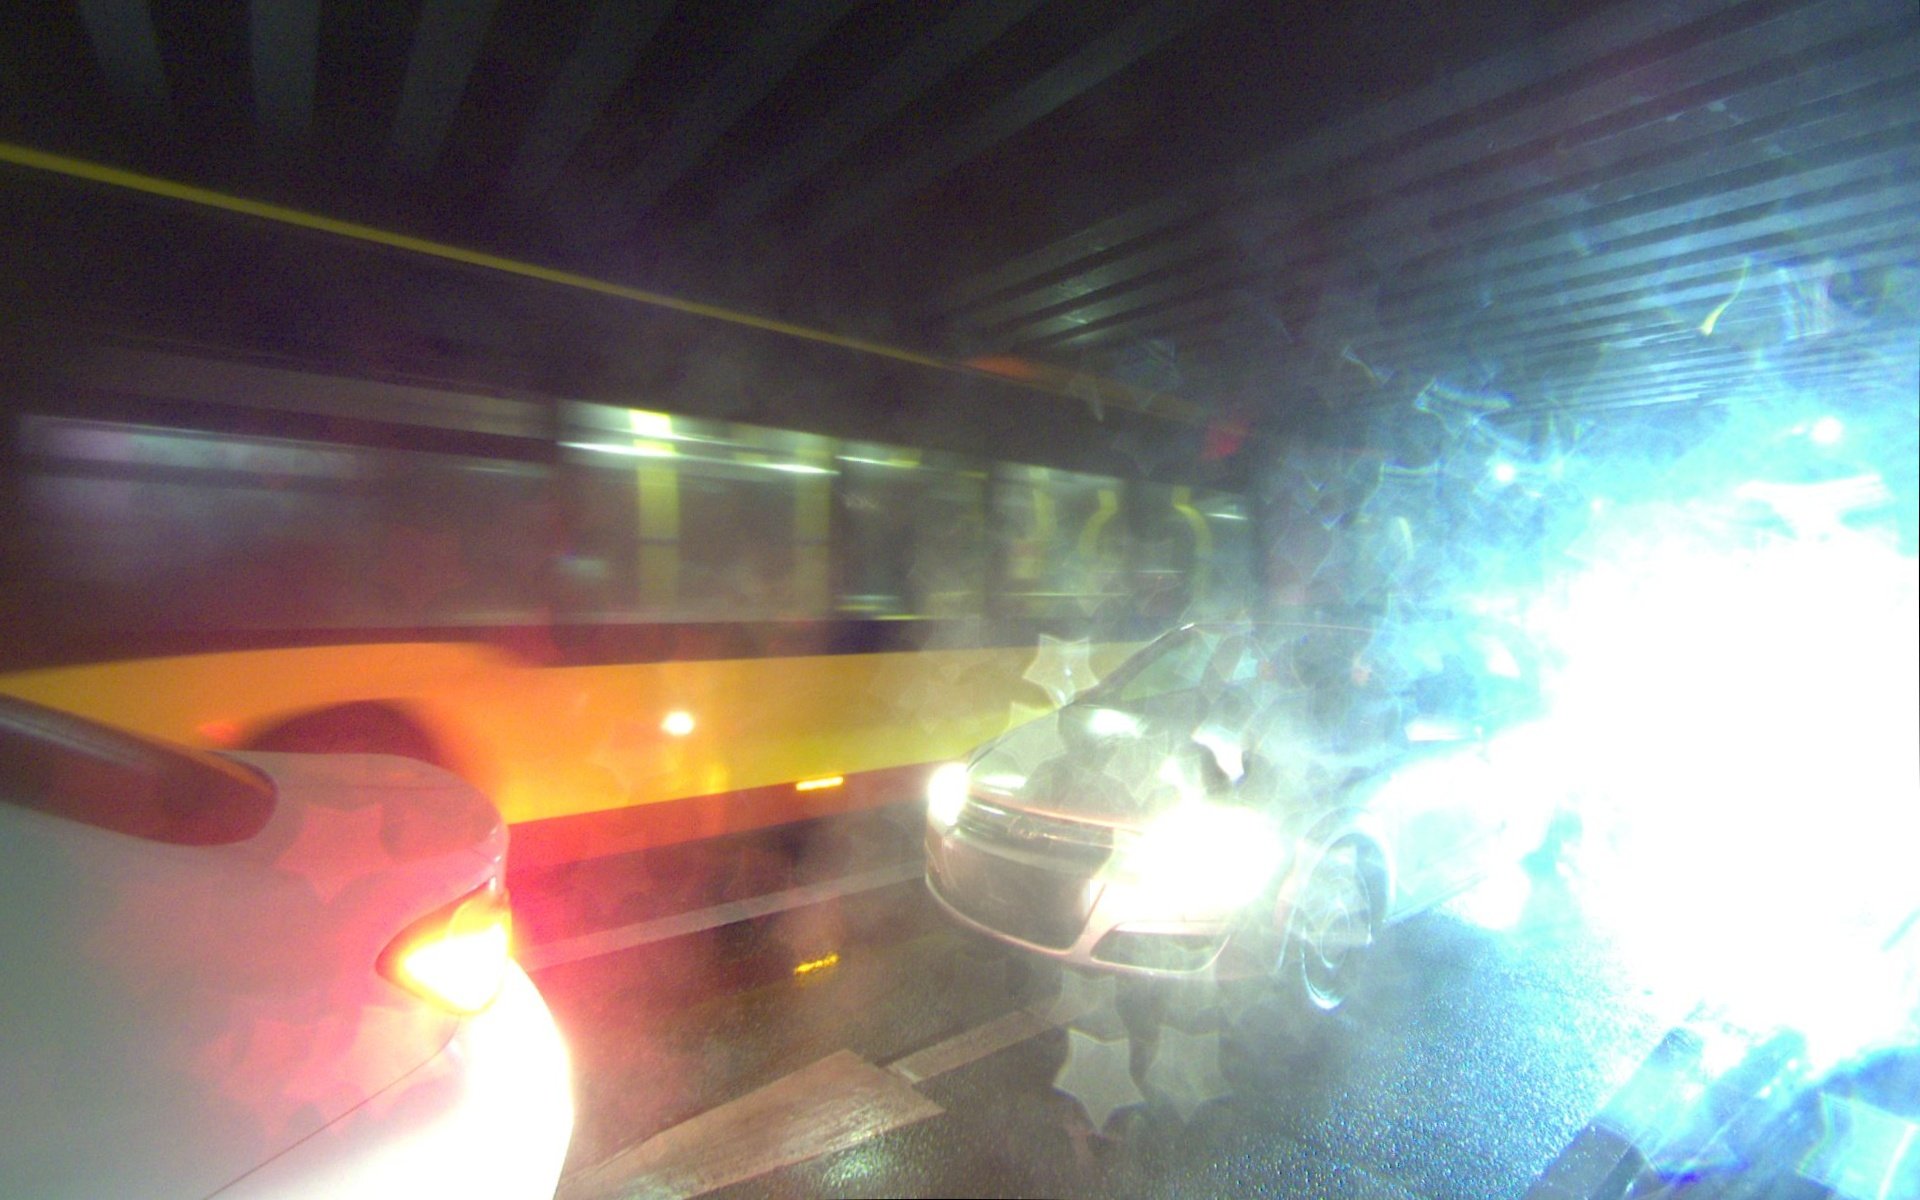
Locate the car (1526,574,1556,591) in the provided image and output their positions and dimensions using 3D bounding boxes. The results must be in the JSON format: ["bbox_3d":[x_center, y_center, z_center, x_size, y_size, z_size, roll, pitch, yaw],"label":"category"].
[{"bbox_3d":[52.390,-1.595,91.325,1.862,1.490,3.968,0,0,24],"label":"car"}]

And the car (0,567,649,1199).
[{"bbox_3d":[-2.697,0.683,0.977,4.273,1.422,1.719,-1,0,-41],"label":"car"}]

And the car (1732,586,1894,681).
[{"bbox_3d":[15.353,0.521,18.158,3.930,1.522,1.628,-1,0,-41],"label":"car"}]

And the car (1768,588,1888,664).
[{"bbox_3d":[18.761,0.488,21.828,1.679,1.490,3.935,0,0,45],"label":"car"}]

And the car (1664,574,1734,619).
[{"bbox_3d":[26.811,-0.129,36.671,1.845,1.503,4.564,2,1,39],"label":"car"}]

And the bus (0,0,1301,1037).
[{"bbox_3d":[-1.510,-0.308,6.164,9.601,3.163,2.771,0,0,-44],"label":"bus"}]

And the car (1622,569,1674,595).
[{"bbox_3d":[41.297,-1.086,60.838,1.834,1.449,4.466,0,2,24],"label":"car"}]

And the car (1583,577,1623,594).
[{"bbox_3d":[59.165,-1.316,93.207,1.827,1.503,4.465,1,1,14],"label":"car"}]

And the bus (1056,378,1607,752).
[{"bbox_3d":[5.392,-0.299,12.928,9.601,3.163,2.771,0,0,-44],"label":"bus"}]

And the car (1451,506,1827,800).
[{"bbox_3d":[6.492,0.355,9.484,4.274,2.115,1.996,-1,0,-43],"label":"car"}]

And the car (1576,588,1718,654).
[{"bbox_3d":[17.125,0.455,25.143,4.548,1.497,1.840,-1,0,-41],"label":"car"}]

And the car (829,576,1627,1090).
[{"bbox_3d":[1.525,0.618,4.819,3.931,1.384,1.791,-2,2,-41],"label":"car"}]

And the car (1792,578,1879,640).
[{"bbox_3d":[24.572,0.206,28.359,1.737,1.610,3.939,0,0,42],"label":"car"}]

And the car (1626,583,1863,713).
[{"bbox_3d":[10.757,0.543,13.807,3.701,1.531,1.867,-1,0,-41],"label":"car"}]
